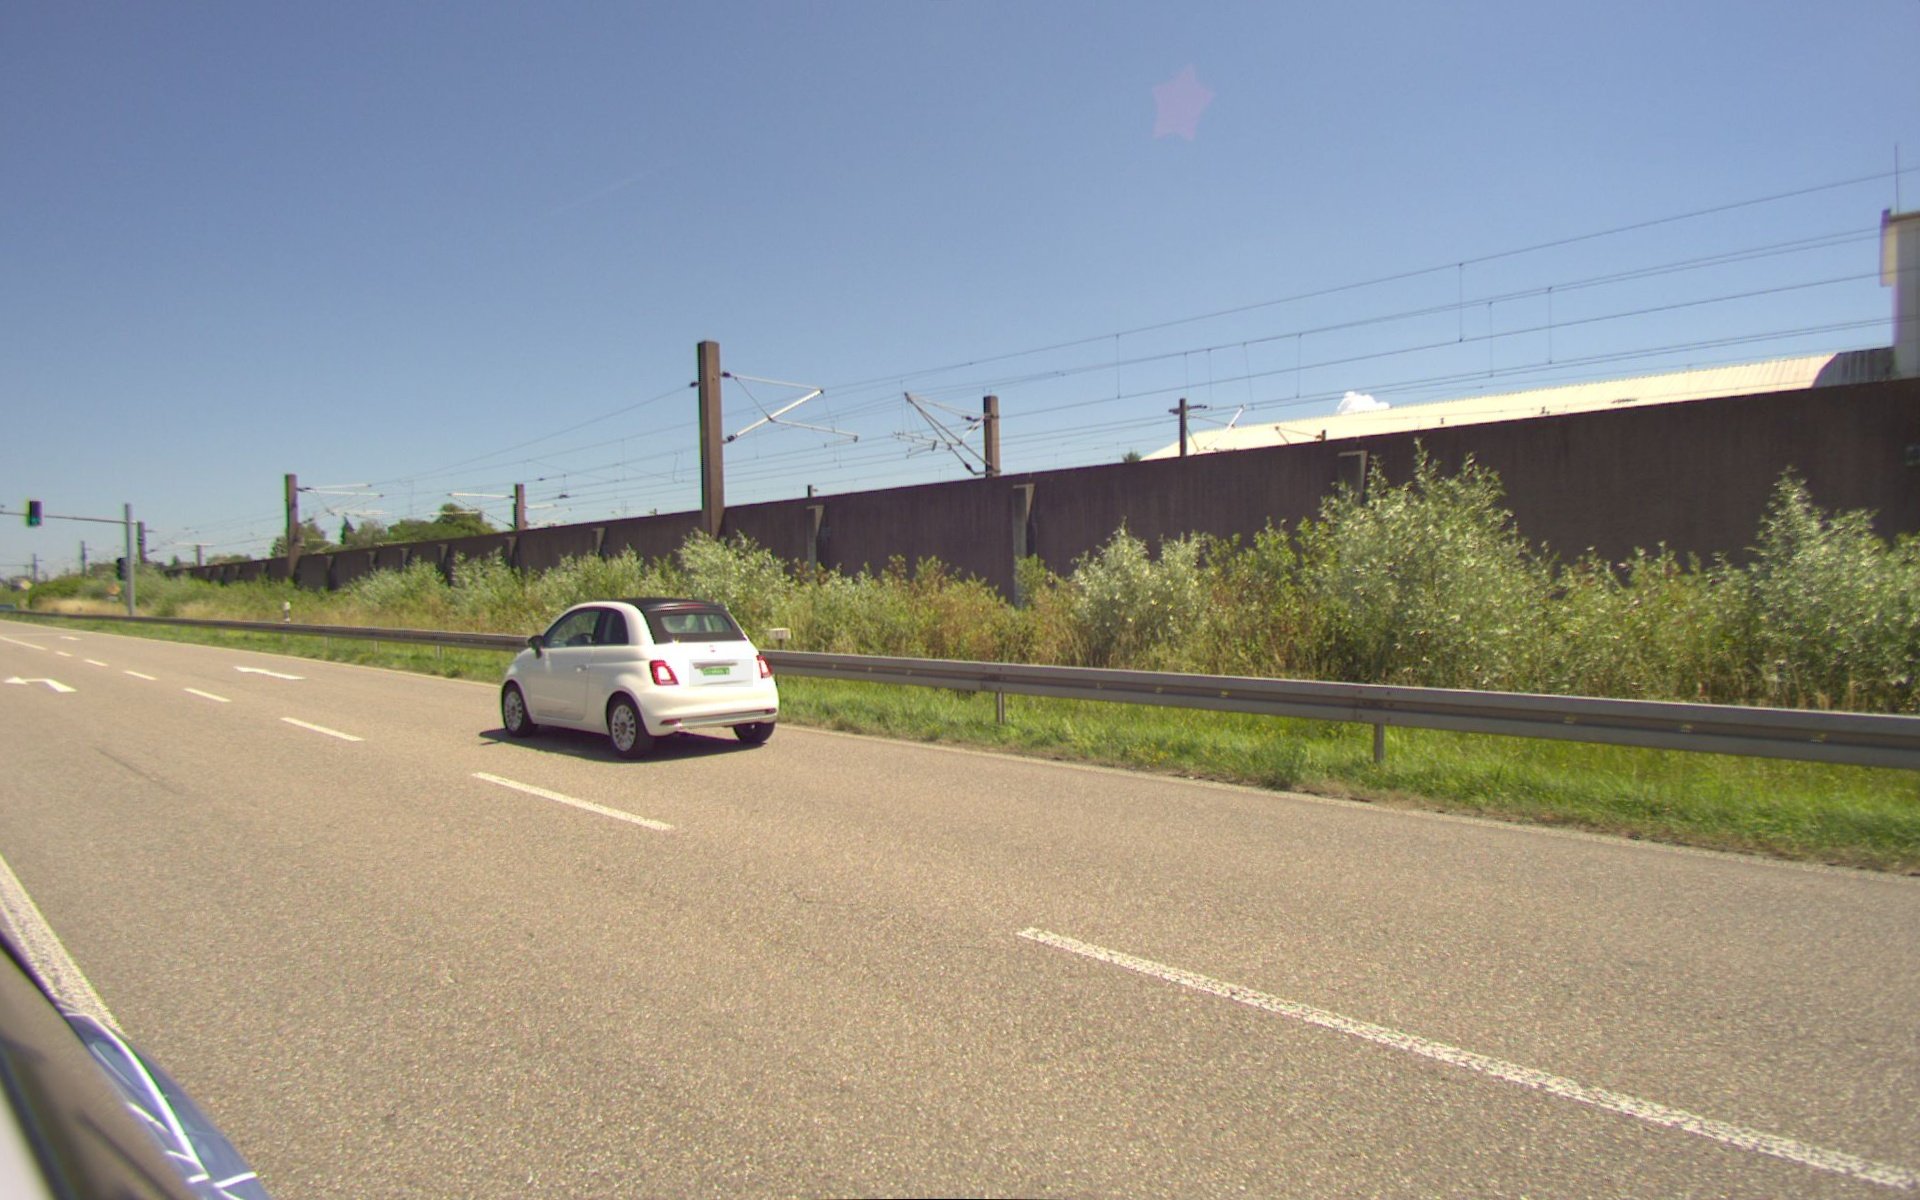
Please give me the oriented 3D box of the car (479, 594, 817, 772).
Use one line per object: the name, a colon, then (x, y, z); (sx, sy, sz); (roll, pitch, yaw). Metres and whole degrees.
car: (-3.335, 0.713, 10.474); (3.720, 1.513, 1.654); (0, 0, 41)
